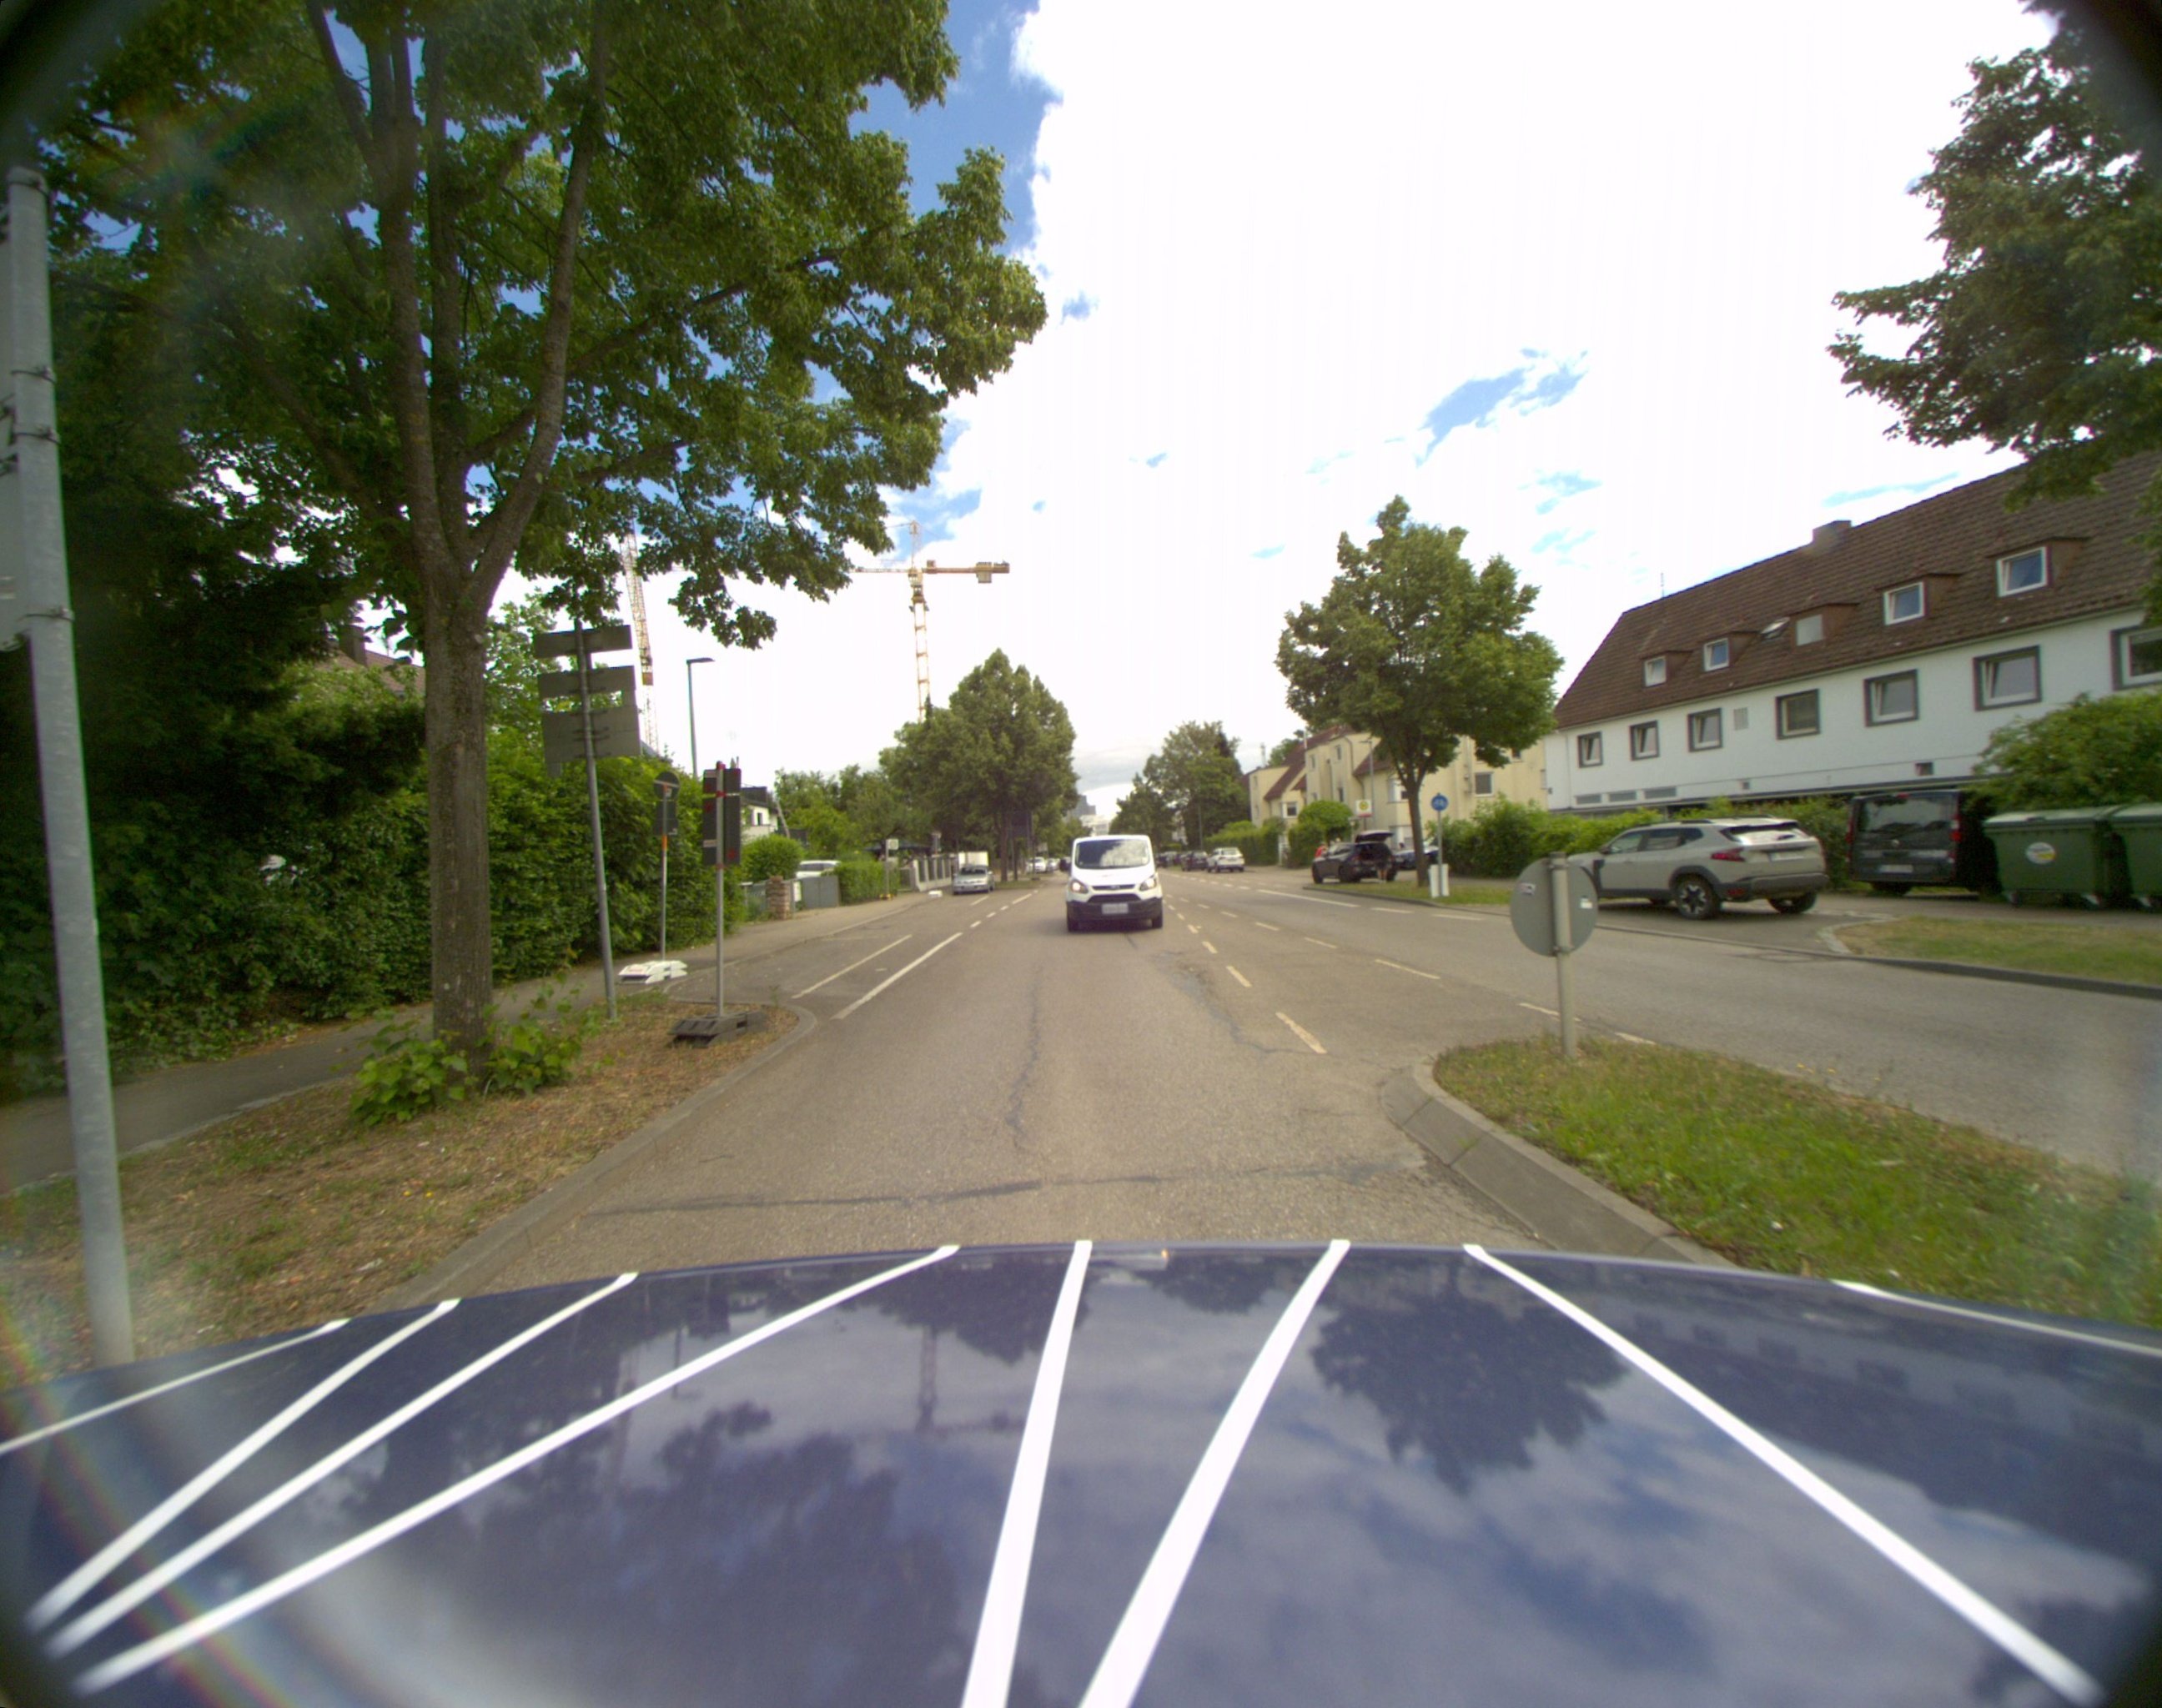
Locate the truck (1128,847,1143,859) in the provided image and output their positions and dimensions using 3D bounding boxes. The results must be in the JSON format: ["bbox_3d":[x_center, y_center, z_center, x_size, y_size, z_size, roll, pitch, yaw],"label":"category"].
[{"bbox_3d":[10.138,-0.200,140.790,2.429,2.031,5.995,-3,0,2],"label":"truck"}]

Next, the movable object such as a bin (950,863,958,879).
[{"bbox_3d":[-8.516,1.128,50.905,0.437,1.016,0.454,-3,1,1],"label":"movable object such as a bin"}]

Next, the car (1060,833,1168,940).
[{"bbox_3d":[0.750,0.596,17.300,1.998,2.002,5.189,-3,1,2],"label":"car"}]

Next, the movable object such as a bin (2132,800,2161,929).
[{"bbox_3d":[14.465,0.089,9.500,1.209,1.641,0.997,-5,1,-3],"label":"movable object such as a bin"}]

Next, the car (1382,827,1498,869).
[{"bbox_3d":[16.371,-0.287,34.738,4.530,1.545,2.033,-5,1,-17],"label":"car"}]

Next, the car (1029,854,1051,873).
[{"bbox_3d":[-3.986,0.933,75.090,1.905,1.633,4.116,-3,1,0],"label":"car"}]

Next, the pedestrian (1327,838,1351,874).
[{"bbox_3d":[12.454,0.101,36.642,0.789,1.654,0.591,-6,1,-2],"label":"pedestrian"}]

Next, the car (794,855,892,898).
[{"bbox_3d":[-11.382,1.063,36.568,3.998,1.812,1.999,-3,0,-2],"label":"car"}]

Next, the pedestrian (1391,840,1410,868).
[{"bbox_3d":[15.348,-0.003,36.536,0.589,1.305,0.706,-3,1,1],"label":"pedestrian"}]

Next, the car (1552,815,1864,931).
[{"bbox_3d":[10.771,0.279,13.575,1.866,1.644,4.293,-3,0,-2],"label":"car"}]

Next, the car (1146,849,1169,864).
[{"bbox_3d":[9.124,0.293,90.934,2.100,1.637,5.037,-2,0,-2],"label":"car"}]

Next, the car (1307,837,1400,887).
[{"bbox_3d":[10.602,0.300,29.902,1.729,1.715,4.563,-3,0,-3],"label":"car"}]

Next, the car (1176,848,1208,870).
[{"bbox_3d":[8.546,0.340,58.736,1.681,1.543,4.271,-3,0,-2],"label":"car"}]

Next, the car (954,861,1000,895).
[{"bbox_3d":[-5.128,1.166,37.968,1.616,1.369,4.386,-3,1,0],"label":"car"}]

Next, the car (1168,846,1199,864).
[{"bbox_3d":[9.536,0.086,71.247,1.999,1.476,4.889,-2,0,-3],"label":"car"}]

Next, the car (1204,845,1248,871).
[{"bbox_3d":[9.812,0.284,51.683,1.825,1.624,4.585,-3,0,-3],"label":"car"}]

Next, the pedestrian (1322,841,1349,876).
[{"bbox_3d":[12.759,0.207,38.083,0.789,1.654,0.881,-7,1,-7],"label":"pedestrian"}]

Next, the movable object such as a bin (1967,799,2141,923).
[{"bbox_3d":[14.267,0.091,11.178,1.209,1.641,0.997,-5,1,-3],"label":"movable object such as a bin"}]

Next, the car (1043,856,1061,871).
[{"bbox_3d":[-3.624,1.185,94.868,1.866,1.602,4.686,-4,1,1],"label":"car"}]

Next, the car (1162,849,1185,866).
[{"bbox_3d":[9.362,0.326,76.933,1.722,1.604,3.909,-3,0,0],"label":"car"}]

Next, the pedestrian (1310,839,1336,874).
[{"bbox_3d":[11.966,0.127,37.580,0.789,1.654,0.754,-7,1,-7],"label":"pedestrian"}]

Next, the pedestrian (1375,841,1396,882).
[{"bbox_3d":[10.959,0.278,27.349,0.553,1.428,0.497,-2,1,31],"label":"pedestrian"}]

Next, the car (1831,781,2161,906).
[{"bbox_3d":[16.403,-0.187,13.562,3.997,1.880,2.000,-3,0,0],"label":"car"}]
